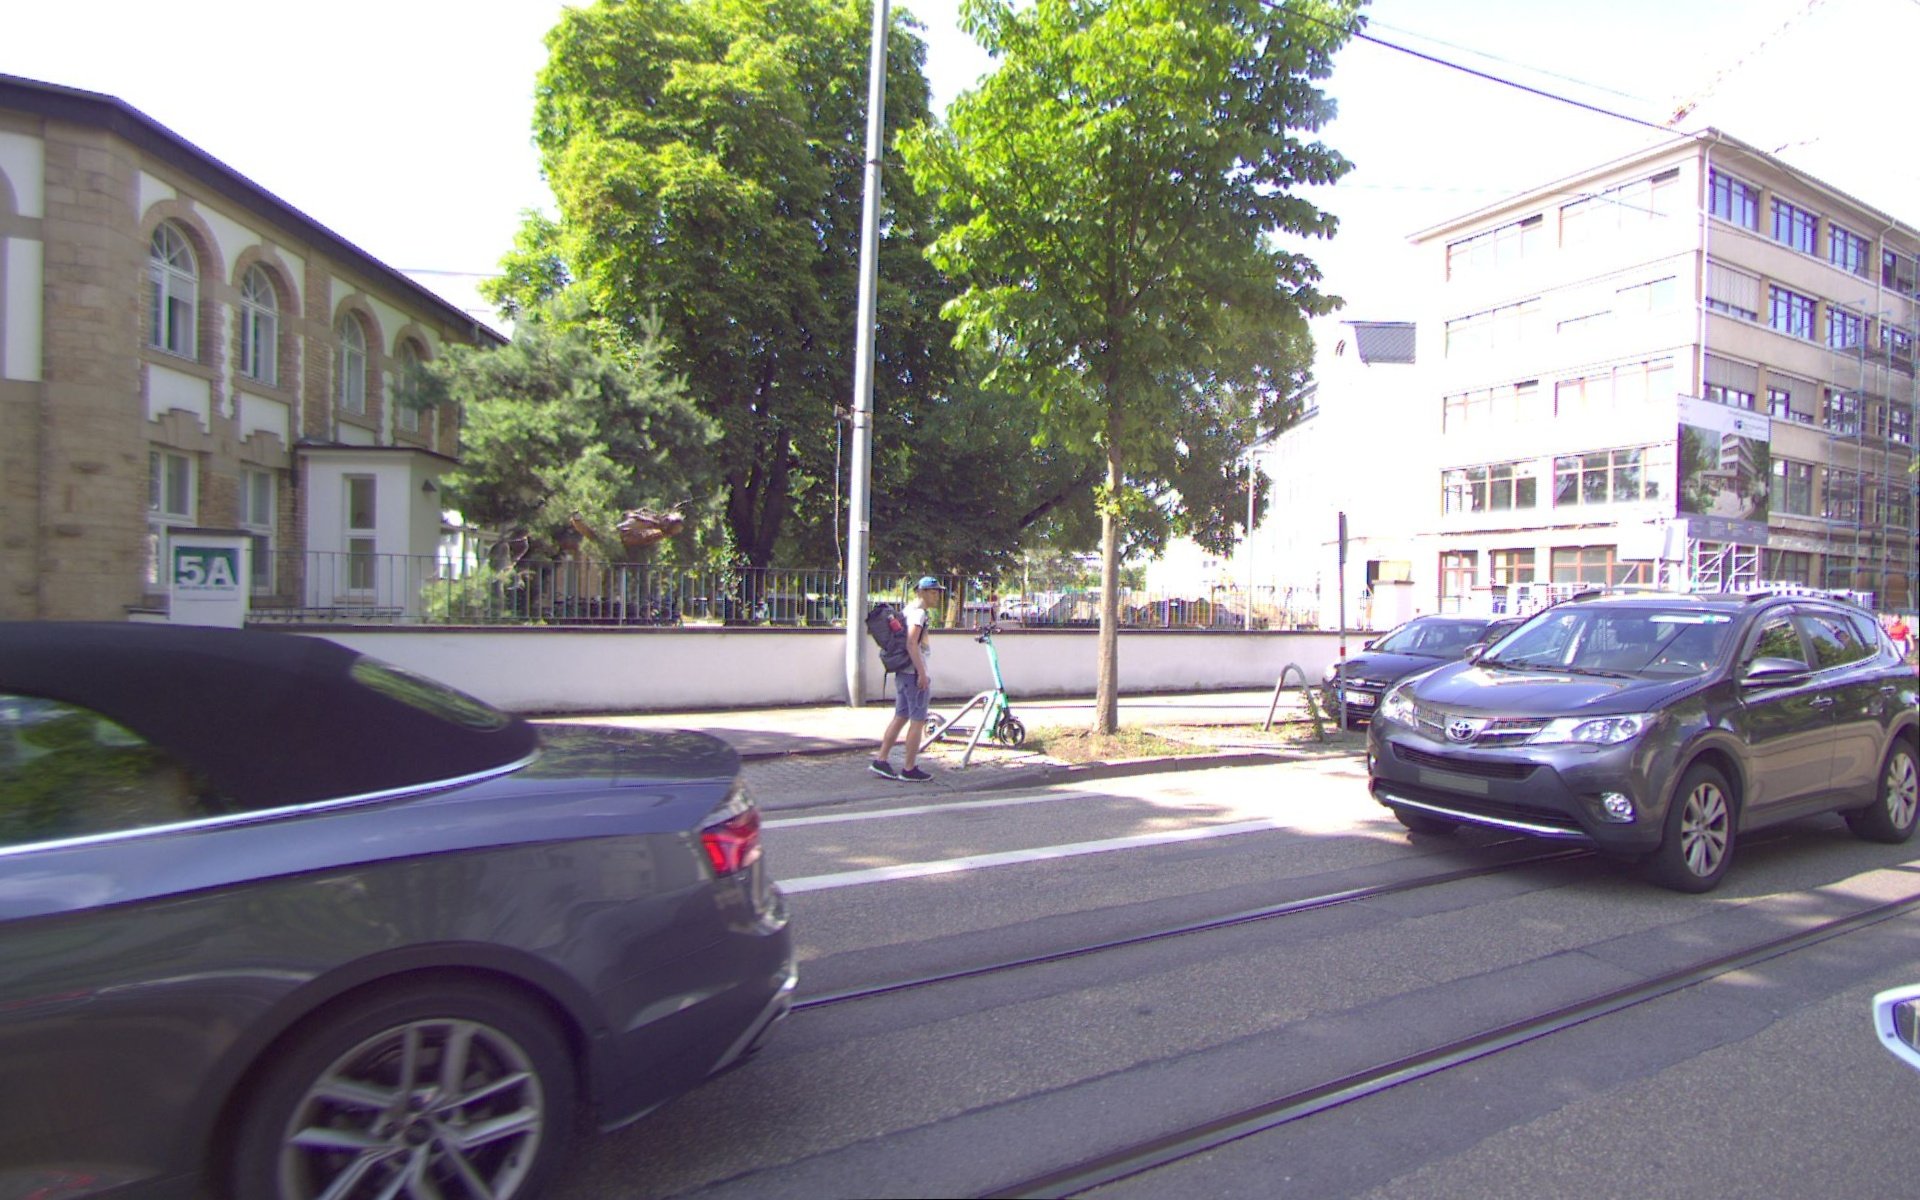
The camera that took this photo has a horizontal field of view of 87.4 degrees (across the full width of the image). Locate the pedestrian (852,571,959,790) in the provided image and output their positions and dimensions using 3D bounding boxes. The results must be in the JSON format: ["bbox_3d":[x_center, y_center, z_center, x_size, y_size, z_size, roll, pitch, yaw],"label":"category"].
[{"bbox_3d":[-0.458,0.666,8.755,0.775,1.790,0.753,2,1,4],"label":"pedestrian"}]

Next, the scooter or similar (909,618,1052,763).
[{"bbox_3d":[0.182,0.868,10.187,0.845,1.297,1.332,1,1,-30],"label":"scooter or similar"}]

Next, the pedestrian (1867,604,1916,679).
[{"bbox_3d":[24.239,1.059,26.148,0.655,1.857,0.702,-1,4,-34],"label":"pedestrian"}]

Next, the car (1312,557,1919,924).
[{"bbox_3d":[4.561,0.693,6.657,4.339,1.750,1.817,1,0,-30],"label":"car"}]

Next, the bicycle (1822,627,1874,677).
[{"bbox_3d":[23.802,1.377,26.905,1.716,1.303,0.444,1,0,-28],"label":"bicycle"}]

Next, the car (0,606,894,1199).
[{"bbox_3d":[-2.505,0.718,2.306,4.373,1.407,1.791,1,-1,-30],"label":"car"}]

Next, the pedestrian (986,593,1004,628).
[{"bbox_3d":[1.642,0.506,47.401,0.751,1.642,0.594,1,0,9],"label":"pedestrian"}]

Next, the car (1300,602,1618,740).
[{"bbox_3d":[6.810,0.880,13.556,4.542,1.536,1.739,2,1,-33],"label":"car"}]

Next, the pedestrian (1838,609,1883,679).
[{"bbox_3d":[23.937,1.162,26.698,0.655,1.817,0.703,1,1,-35],"label":"pedestrian"}]

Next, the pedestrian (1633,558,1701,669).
[{"bbox_3d":[11.031,0.200,15.694,0.714,1.659,0.691,3,1,27],"label":"pedestrian"}]
